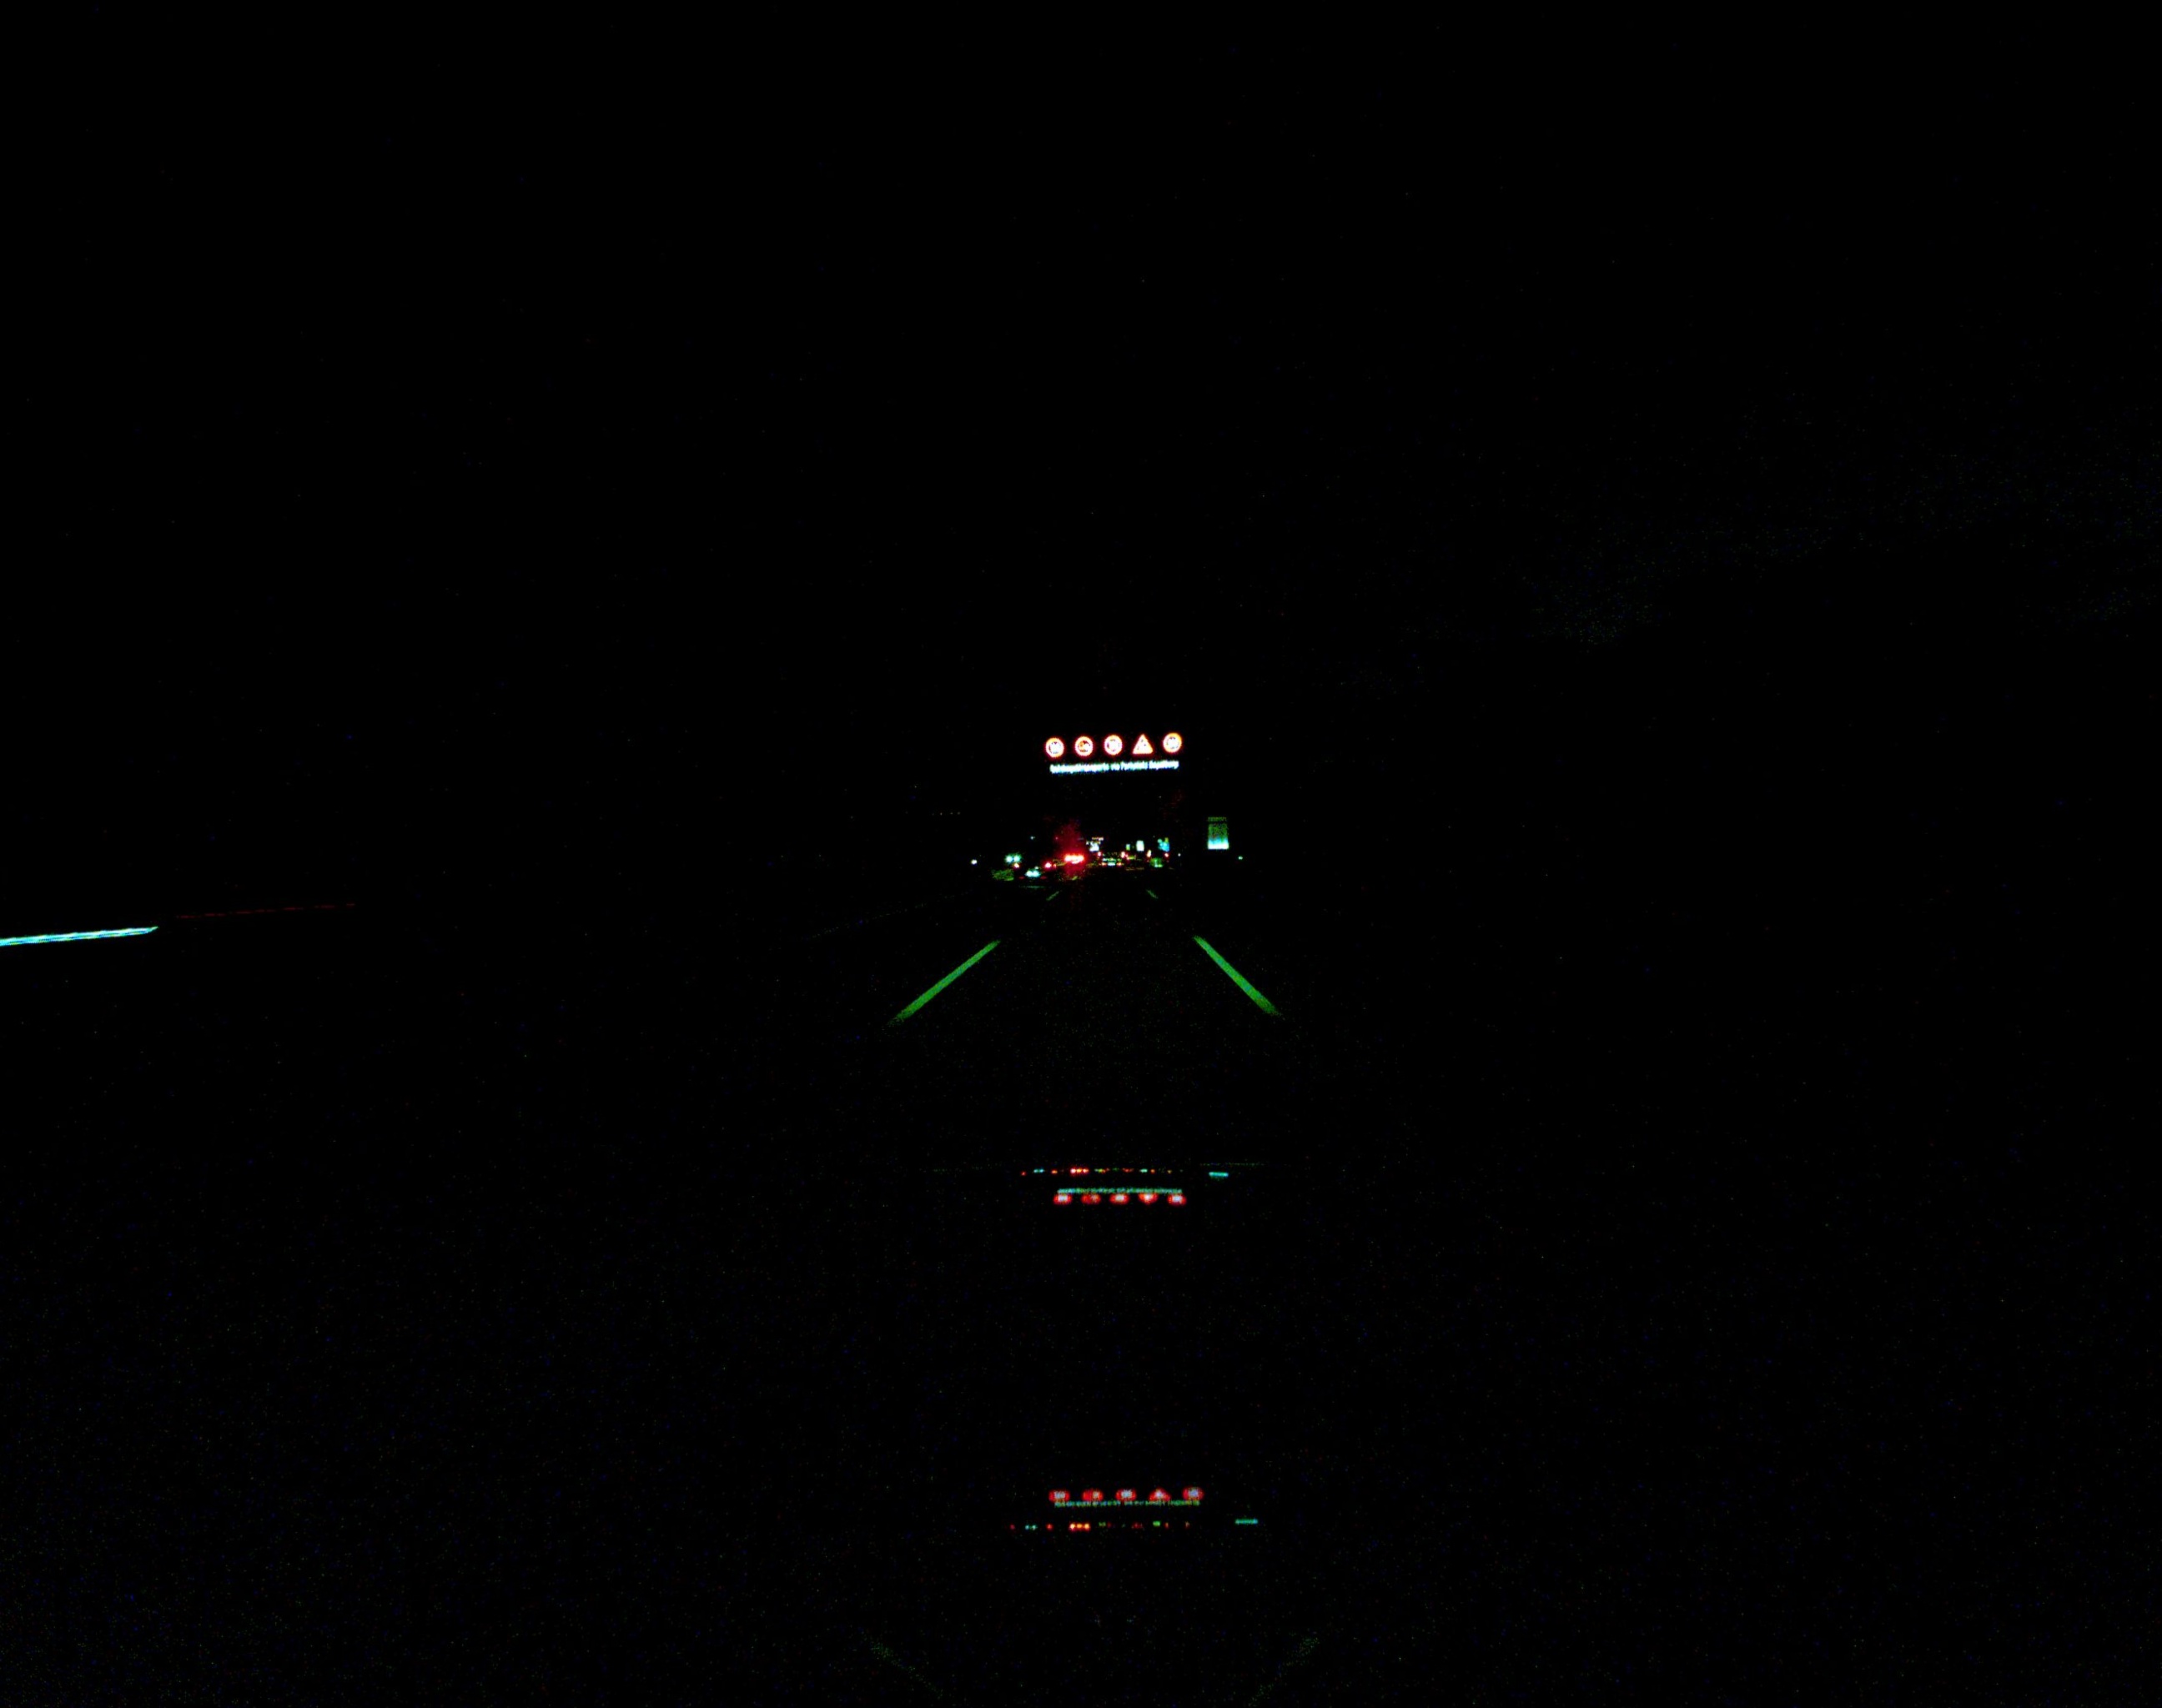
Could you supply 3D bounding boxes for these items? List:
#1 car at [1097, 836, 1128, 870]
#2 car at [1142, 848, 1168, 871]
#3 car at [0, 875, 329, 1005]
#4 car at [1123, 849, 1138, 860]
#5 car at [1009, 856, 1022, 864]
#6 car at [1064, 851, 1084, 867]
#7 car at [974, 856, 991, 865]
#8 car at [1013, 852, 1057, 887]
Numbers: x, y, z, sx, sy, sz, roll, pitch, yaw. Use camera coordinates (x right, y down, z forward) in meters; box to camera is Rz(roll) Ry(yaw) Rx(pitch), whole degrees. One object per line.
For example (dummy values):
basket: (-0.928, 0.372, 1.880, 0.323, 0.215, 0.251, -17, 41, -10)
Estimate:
car: (2.513, -0.075, 65.184, 2.342, 2.535, 5.704, -2, 0, 2)
car: (5.512, 0.380, 60.816, 1.640, 1.596, 4.511, -1, 0, 1)
car: (-15.295, 1.258, 13.273, 1.897, 1.617, 4.404, -2, 0, 0)
car: (7.468, 0.064, 123.076, 2.154, 1.563, 4.725, -1, 0, 2)
car: (-13.426, 1.199, 168.084, 1.956, 1.538, 5.188, -2, 0, 2)
car: (-0.678, 0.484, 81.438, 1.738, 1.440, 4.370, -2, 0, 2)
car: (-15.302, 0.927, 126.387, 1.896, 1.282, 4.352, -2, 0, 2)
car: (-2.059, 0.674, 37.381, 1.788, 1.469, 3.773, -1, 0, 0)
